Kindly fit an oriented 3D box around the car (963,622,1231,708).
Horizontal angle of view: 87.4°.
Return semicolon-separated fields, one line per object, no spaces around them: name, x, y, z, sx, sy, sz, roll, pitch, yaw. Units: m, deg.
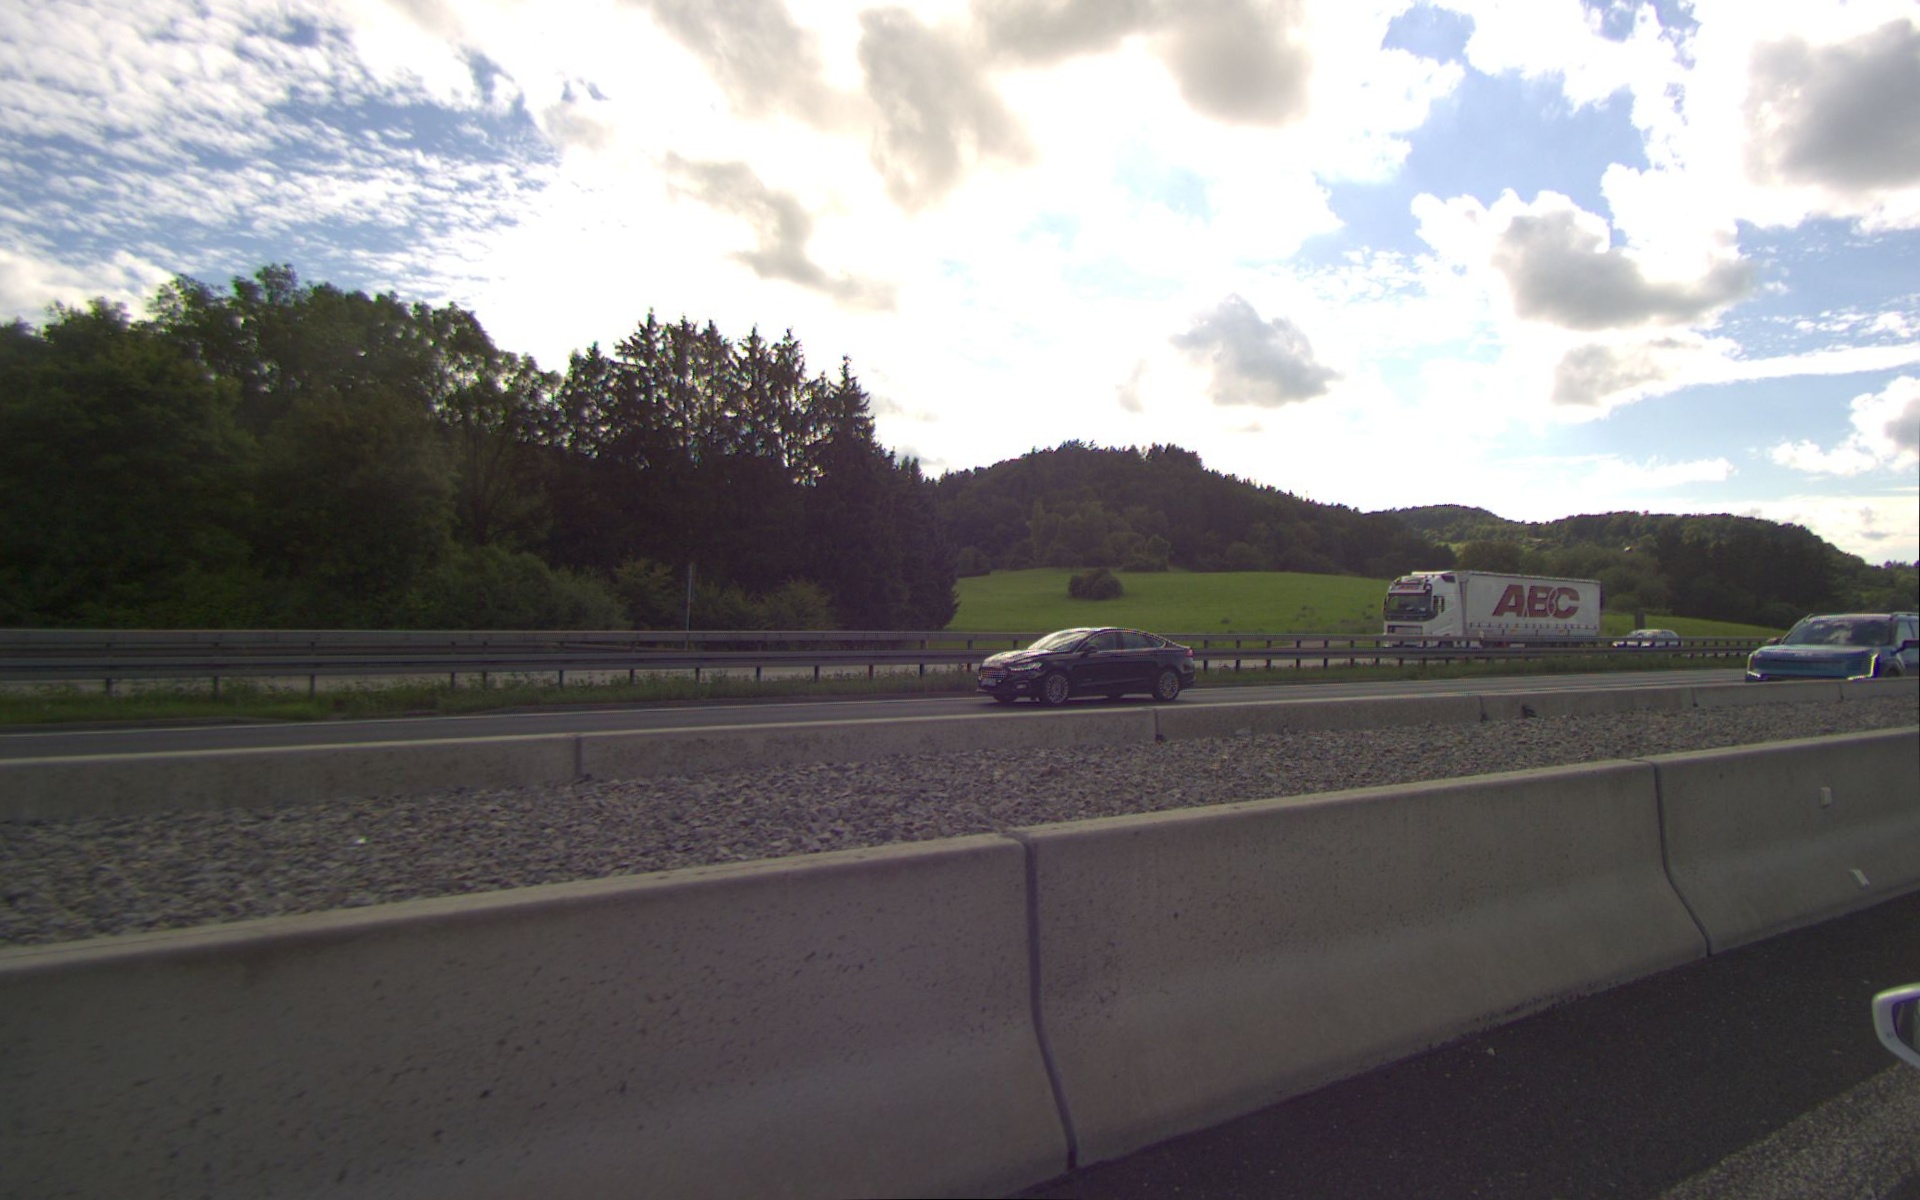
car;2.795;1.244;20.012;5.245;1.514;1.933;2;-2;-31

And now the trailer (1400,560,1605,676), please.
trailer;27.847;1.040;51.004;14.574;5.228;3.088;2;-2;-35

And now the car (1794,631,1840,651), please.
car;74.069;3.568;86.794;4.251;1.639;1.793;2;-2;-30

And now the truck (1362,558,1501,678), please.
truck;22.067;0.899;46.878;6.563;5.210;3.006;2;-2;-35

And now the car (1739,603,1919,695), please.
car;16.669;0.884;18.636;4.915;1.514;1.838;2;-2;-31
